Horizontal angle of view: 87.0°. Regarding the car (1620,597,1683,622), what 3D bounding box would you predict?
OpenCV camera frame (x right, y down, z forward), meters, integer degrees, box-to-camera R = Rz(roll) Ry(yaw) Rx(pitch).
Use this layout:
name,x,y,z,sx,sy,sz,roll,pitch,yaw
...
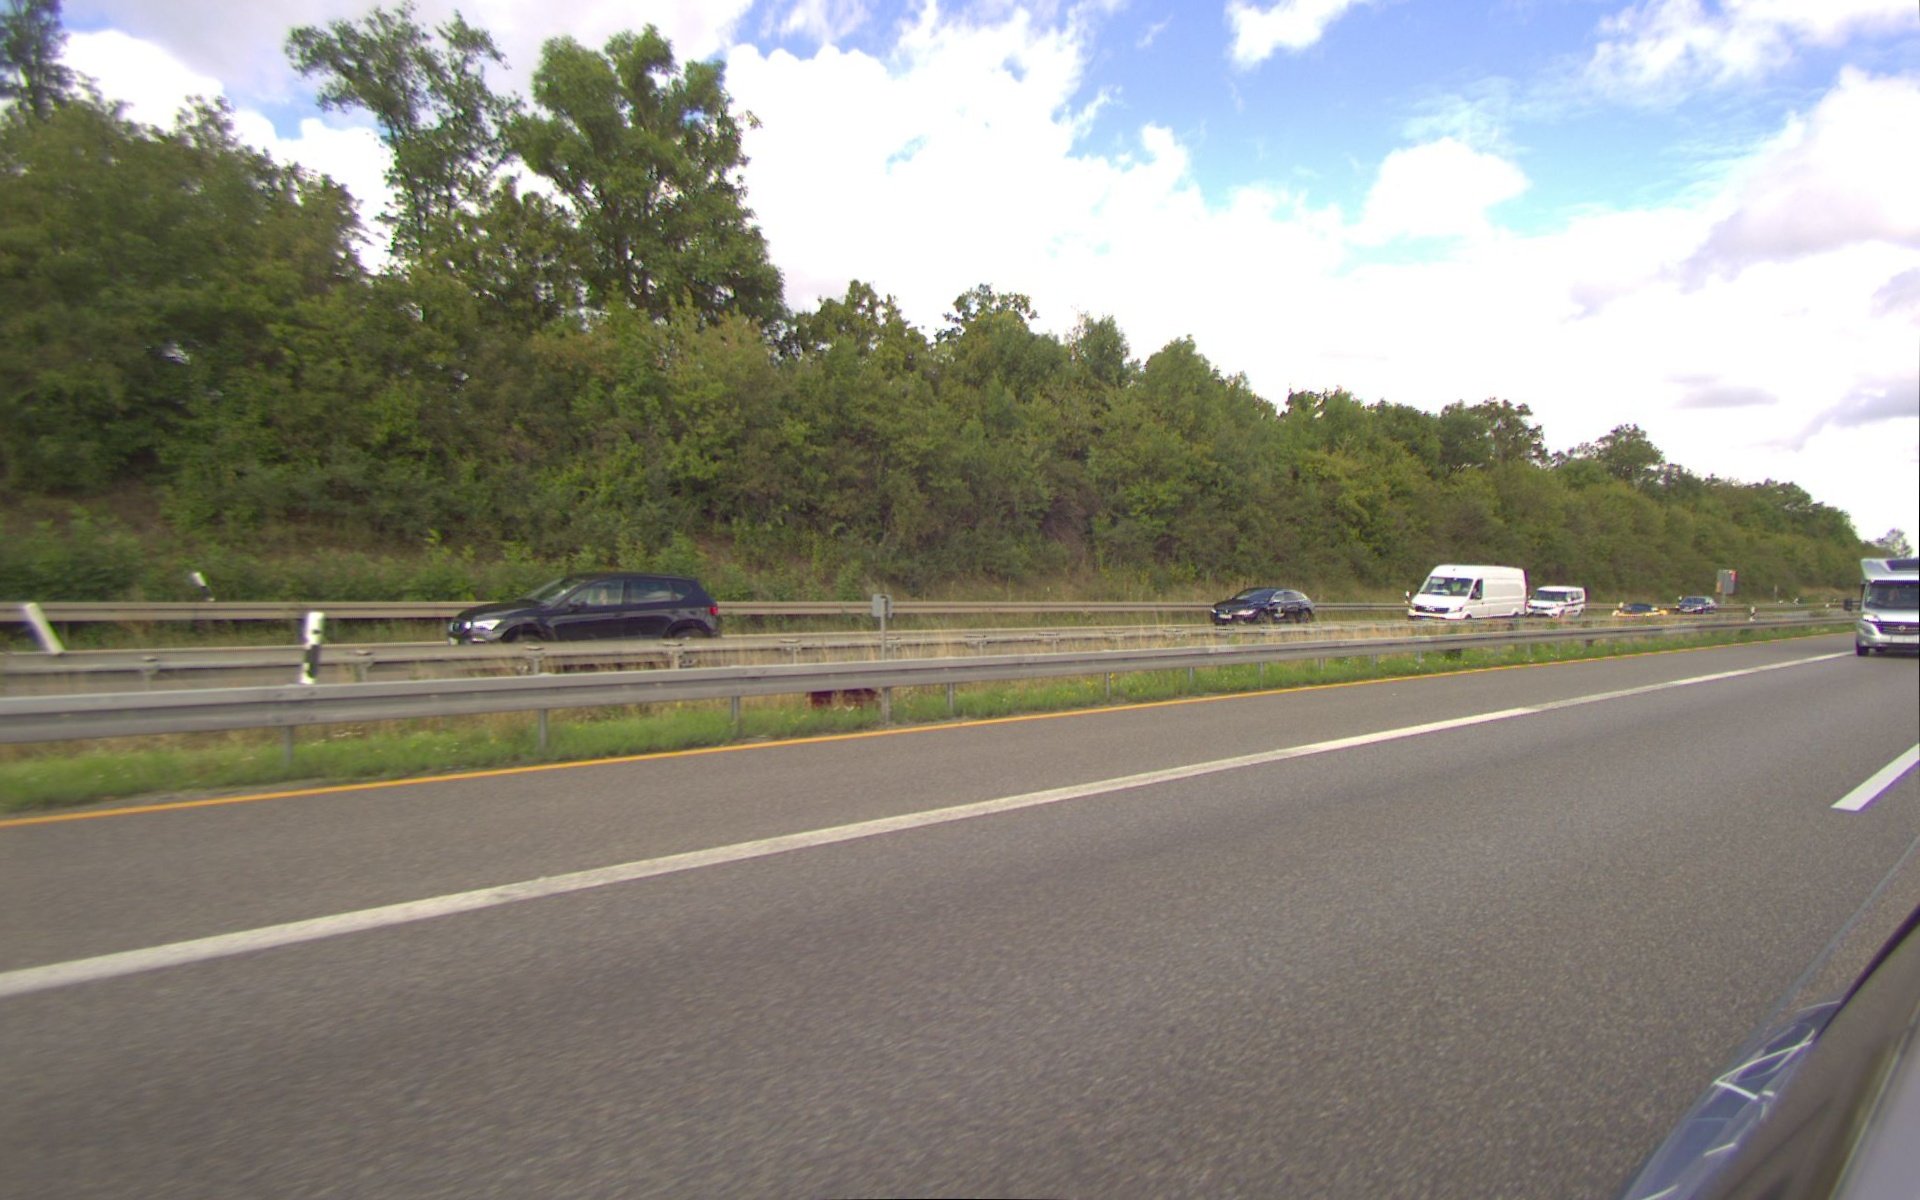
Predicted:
name,x,y,z,sx,sy,sz,roll,pitch,yaw
car,35.560,0.469,51.990,4.096,1.196,1.715,0,0,-41

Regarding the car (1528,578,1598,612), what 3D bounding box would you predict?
name,x,y,z,sx,sy,sz,roll,pitch,yaw
car,32.441,-0.254,54.412,4.680,1.774,1.847,0,0,-40

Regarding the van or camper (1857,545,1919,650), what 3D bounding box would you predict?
name,x,y,z,sx,sy,sz,roll,pitch,yaw
van or camper,28.027,-0.076,29.030,7.527,2.756,2.473,0,0,-41

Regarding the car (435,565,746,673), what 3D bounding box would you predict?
name,x,y,z,sx,sy,sz,roll,pitch,yaw
car,-5.981,0.254,16.681,4.446,1.502,1.847,0,3,-41

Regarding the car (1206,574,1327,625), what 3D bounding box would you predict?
name,x,y,z,sx,sy,sz,roll,pitch,yaw
car,10.811,-0.028,35.582,4.681,1.622,1.847,0,3,-41

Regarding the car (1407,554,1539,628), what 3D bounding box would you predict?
name,x,y,z,sx,sy,sz,roll,pitch,yaw
car,19.656,-0.333,38.610,6.624,2.586,2.074,0,1,-41

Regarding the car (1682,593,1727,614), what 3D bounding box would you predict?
name,x,y,z,sx,sy,sz,roll,pitch,yaw
car,53.251,0.247,72.373,4.095,1.433,1.715,0,1,-40
